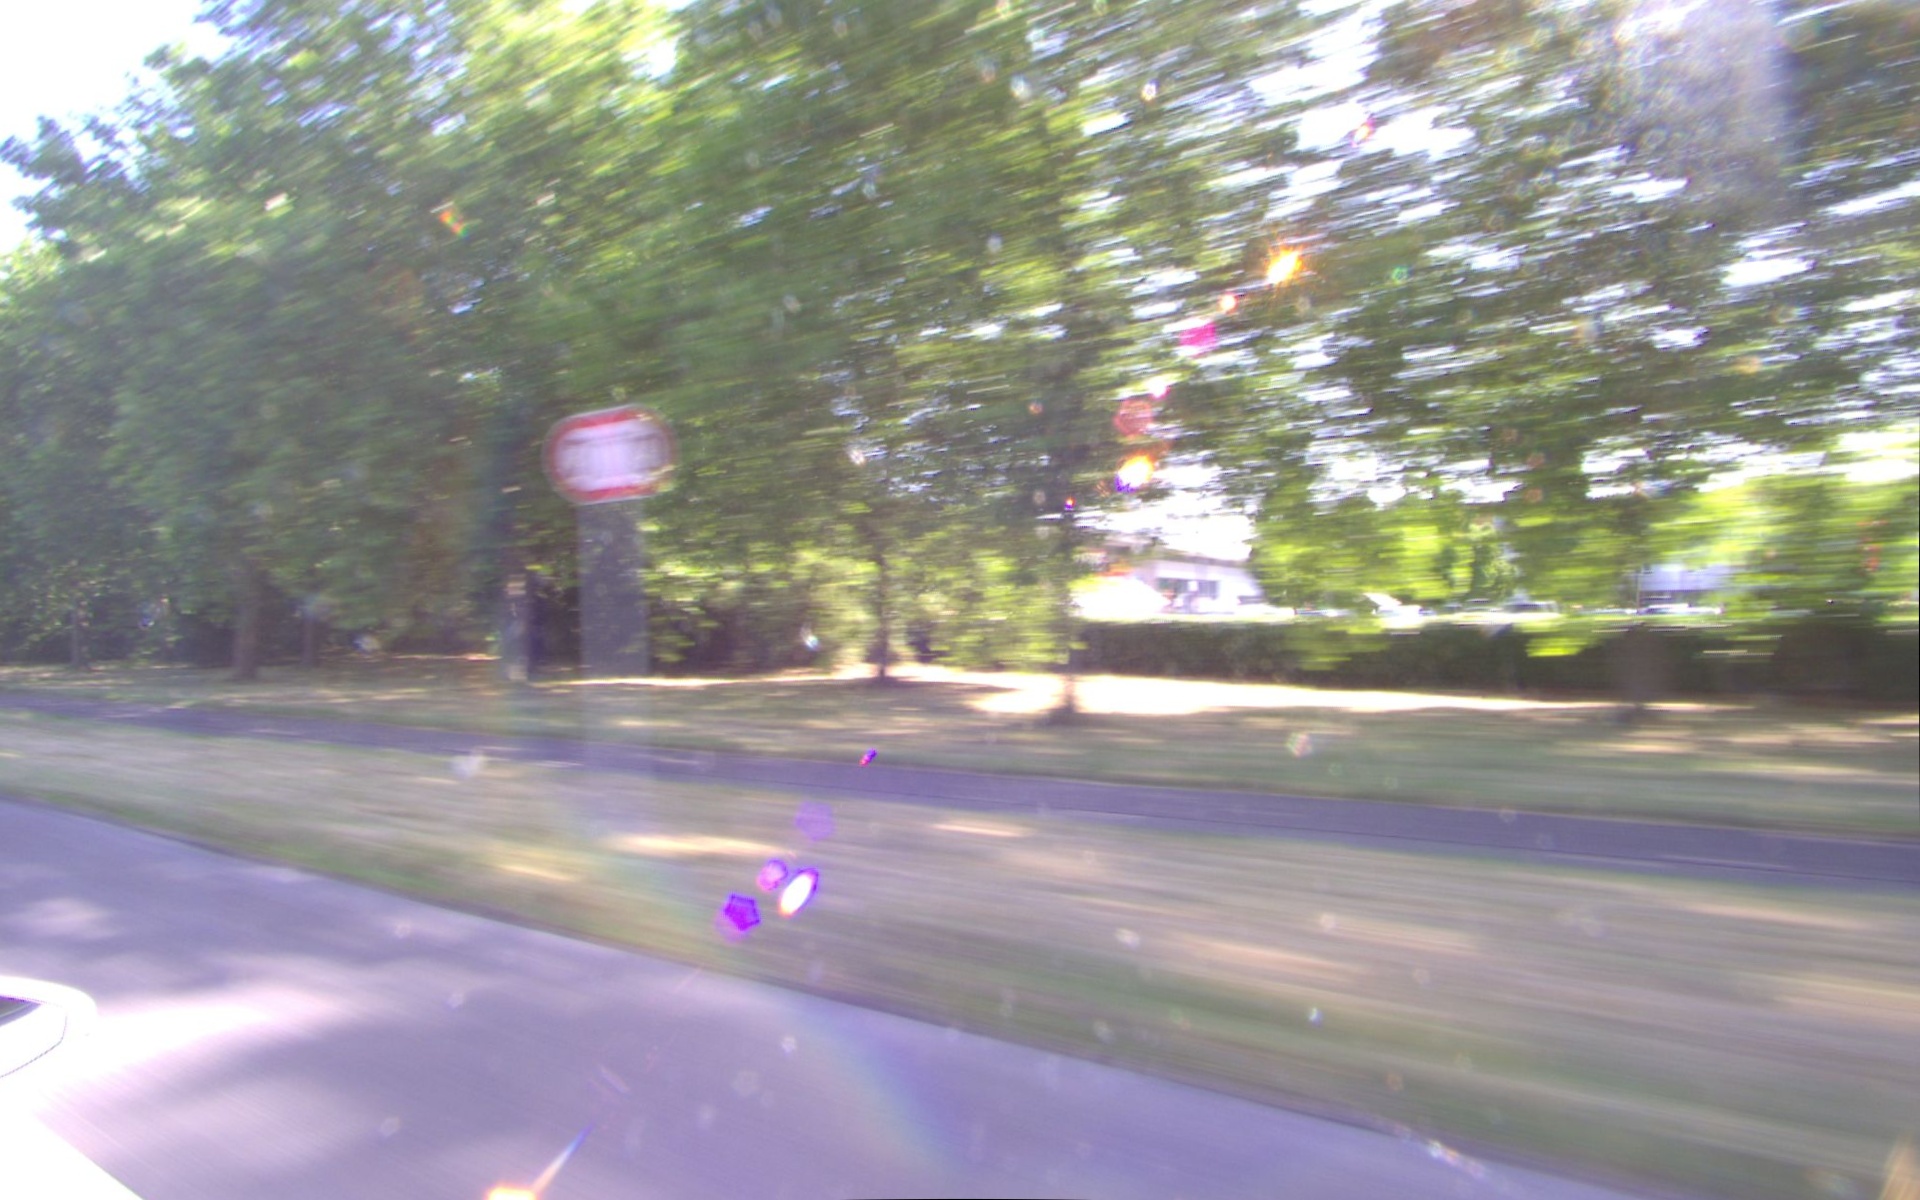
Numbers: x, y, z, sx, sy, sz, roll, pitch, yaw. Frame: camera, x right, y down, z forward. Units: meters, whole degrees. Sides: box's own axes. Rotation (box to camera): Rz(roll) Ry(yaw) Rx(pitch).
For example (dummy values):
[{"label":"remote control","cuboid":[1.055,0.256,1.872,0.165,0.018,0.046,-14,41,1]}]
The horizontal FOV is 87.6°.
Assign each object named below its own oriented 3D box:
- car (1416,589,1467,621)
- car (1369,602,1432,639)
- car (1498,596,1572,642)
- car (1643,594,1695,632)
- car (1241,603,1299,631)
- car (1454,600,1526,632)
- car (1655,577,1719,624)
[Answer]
[{"label":"car","cuboid":[29.987,0.327,62.338,1.976,1.884,3.969,-1,0,39]},{"label":"car","cuboid":[22.261,1.003,50.522,1.962,1.773,4.478,-1,-1,36]},{"label":"car","cuboid":[23.288,0.757,40.498,1.976,1.750,3.969,-1,0,39]},{"label":"car","cuboid":[38.088,0.667,53.749,1.976,1.951,3.969,-1,0,39]},{"label":"car","cuboid":[20.518,1.135,66.144,1.966,1.773,4.468,-1,-1,43]},{"label":"car","cuboid":[30.839,0.910,58.239,4.451,1.773,1.974,0,0,-36]},{"label":"car","cuboid":[30.642,0.042,42.163,1.976,1.884,3.969,-1,0,39]}]
